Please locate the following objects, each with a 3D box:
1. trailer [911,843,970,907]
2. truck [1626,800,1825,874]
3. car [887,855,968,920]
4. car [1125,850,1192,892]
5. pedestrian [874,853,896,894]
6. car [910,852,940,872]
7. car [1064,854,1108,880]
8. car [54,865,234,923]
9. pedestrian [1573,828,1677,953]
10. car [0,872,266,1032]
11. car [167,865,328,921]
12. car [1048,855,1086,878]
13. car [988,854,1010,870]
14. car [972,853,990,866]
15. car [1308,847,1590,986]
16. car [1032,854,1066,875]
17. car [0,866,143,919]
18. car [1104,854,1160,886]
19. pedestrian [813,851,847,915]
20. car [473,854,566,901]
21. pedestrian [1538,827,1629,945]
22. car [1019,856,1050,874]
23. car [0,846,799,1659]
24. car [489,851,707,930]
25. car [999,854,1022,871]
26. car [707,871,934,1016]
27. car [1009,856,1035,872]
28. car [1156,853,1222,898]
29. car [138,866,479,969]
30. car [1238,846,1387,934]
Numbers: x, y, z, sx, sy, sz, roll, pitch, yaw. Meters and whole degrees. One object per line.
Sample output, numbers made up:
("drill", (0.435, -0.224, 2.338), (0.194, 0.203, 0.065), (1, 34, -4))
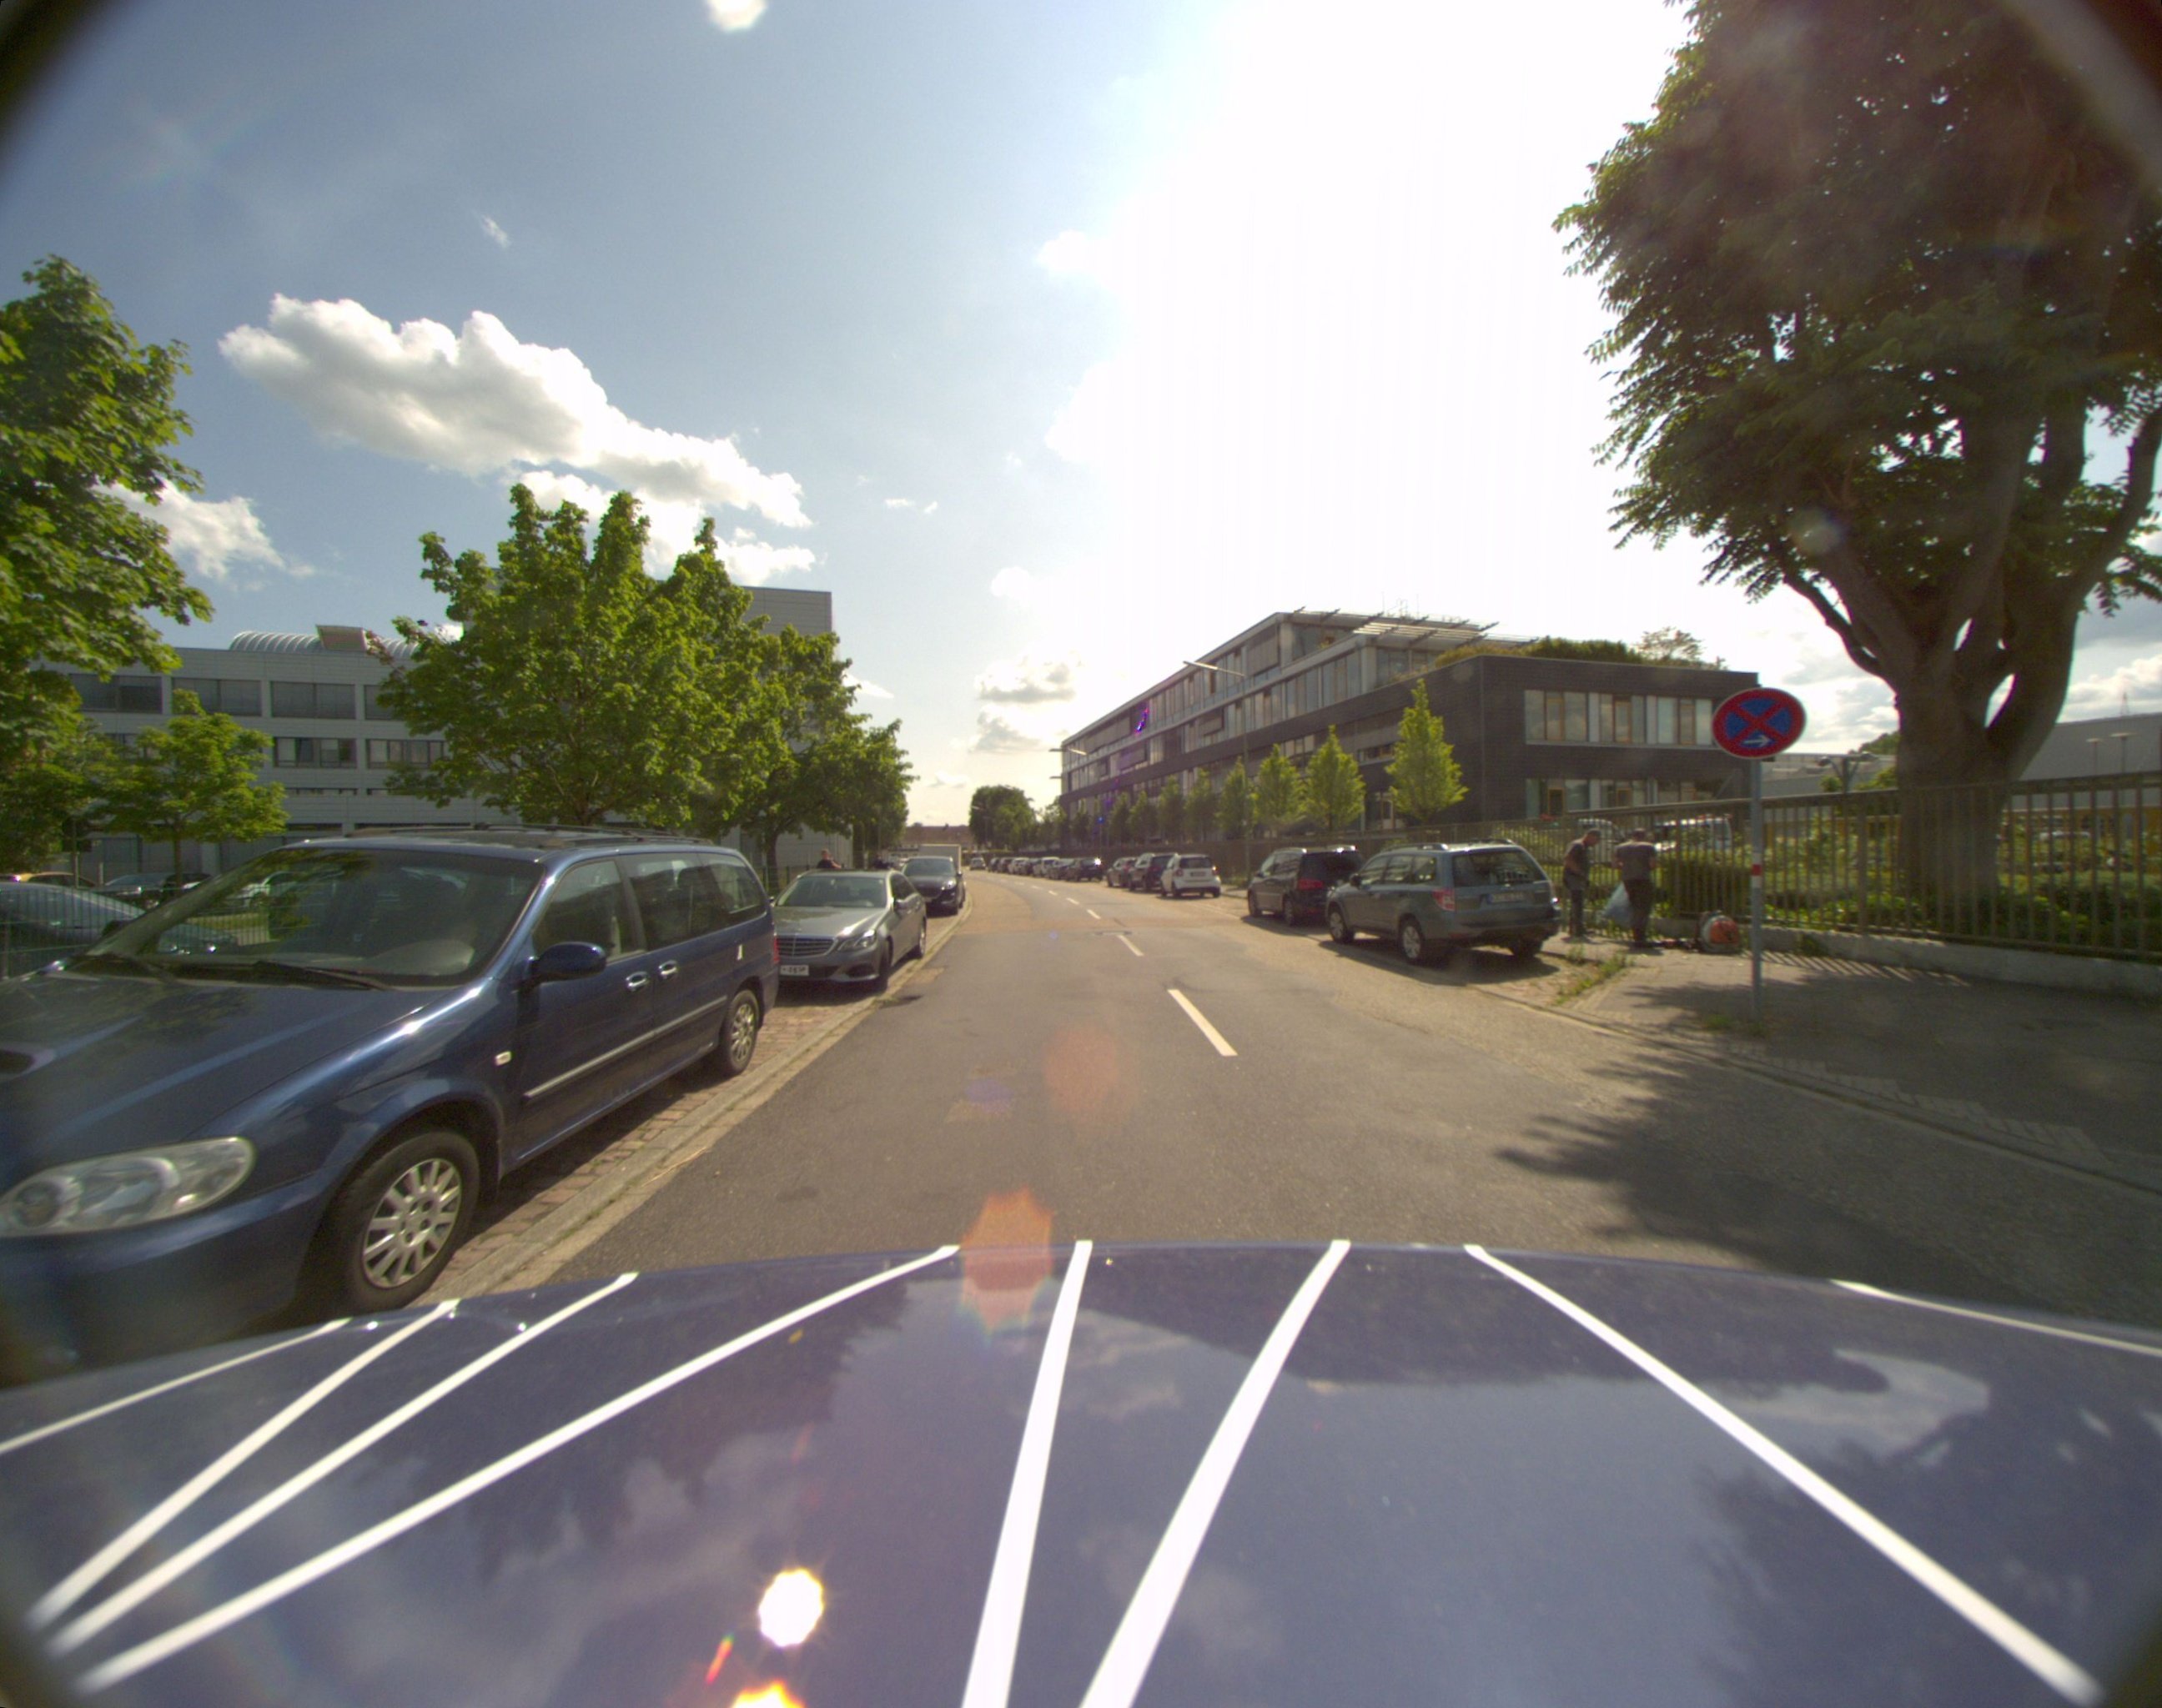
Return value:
("trailer", (-4.878, 0.675, 26.826), (1.751, 2.055, 3.944), (2, 0, -7))
("truck", (25.055, -0.669, 29.559), (6.938, 2.642, 2.402), (-1, 1, -15))
("car", (-4.415, 0.885, 22.495), (1.866, 1.673, 4.707), (1, 0, -6))
("car", (3.203, 0.667, 32.336), (1.739, 1.646, 4.307), (-2, 1, -9))
("pedestrian", (-8.083, 0.819, 31.295), (0.729, 1.637, 0.579), (3, -1, -9))
("car", (-12.503, 0.641, 60.831), (1.816, 1.495, 3.994), (3, -1, -18))
("car", (0.256, 0.793, 47.600), (1.668, 1.521, 3.995), (-3, 0, -15))
("car", (-32.528, 1.312, 26.591), (1.958, 1.642, 3.993), (-2, 2, -16))
("pedestrian", (7.720, 0.498, 10.814), (0.844, 1.682, 0.831), (-3, 1, 3))
("car", (-12.442, 1.081, 8.789), (3.998, 1.627, 1.693), (-1, 1, -3))
("car", (-29.880, 1.335, 27.473), (1.736, 1.671, 4.526), (-3, 1, -16))
("car", (-1.018, 0.838, 52.644), (1.668, 1.389, 4.100), (-3, 1, -15))
("car", (-8.477, 0.804, 78.153), (1.569, 1.506, 4.030), (-1, 0, -16))
("car", (-12.478, 0.669, 94.575), (1.679, 1.506, 3.738), (-1, 0, -16))
("car", (5.298, 0.756, 11.799), (1.804, 1.641, 4.687), (-2, 1, -4))
("car", (-2.454, 0.800, 58.015), (1.668, 1.473, 3.511), (-3, 1, -18))
("car", (-35.434, 1.299, 26.168), (1.958, 1.539, 3.993), (-3, 2, -18))
("car", (2.449, 0.740, 37.496), (1.739, 1.437, 3.926), (-3, 1, -11))
("pedestrian", (-6.760, 0.769, 20.497), (0.723, 1.683, 0.739), (1, 1, -7))
("car", (-21.978, 0.884, 29.910), (1.828, 1.638, 3.331), (-3, 1, -16))
("pedestrian", (7.873, 0.480, 11.936), (0.830, 1.751, 0.845), (-3, 1, 2))
("car", (-3.864, 0.861, 62.902), (1.672, 1.396, 3.994), (-2, 0, -16))
("car", (-3.333, 0.853, 4.039), (1.855, 1.755, 5.076), (1, 1, -1))
("car", (-12.710, 0.936, 20.290), (4.481, 1.954, 1.999), (0, -1, -6))
("car", (-6.807, 0.811, 73.166), (1.569, 1.506, 3.738), (-1, 0, -16))
("car", (-3.345, 1.055, 10.844), (1.847, 1.452, 4.866), (1, 0, -4))
("car", (-5.268, 0.866, 67.795), (1.569, 1.446, 3.738), (-1, 0, -16))
("car", (3.879, 0.747, 27.799), (1.613, 1.514, 3.072), (-2, 1, -7))
("car", (-14.684, 1.150, 14.700), (4.339, 1.586, 1.855), (-3, 1, -7))
("car", (5.068, 0.694, 17.279), (1.780, 1.672, 4.228), (-3, 1, -4))
